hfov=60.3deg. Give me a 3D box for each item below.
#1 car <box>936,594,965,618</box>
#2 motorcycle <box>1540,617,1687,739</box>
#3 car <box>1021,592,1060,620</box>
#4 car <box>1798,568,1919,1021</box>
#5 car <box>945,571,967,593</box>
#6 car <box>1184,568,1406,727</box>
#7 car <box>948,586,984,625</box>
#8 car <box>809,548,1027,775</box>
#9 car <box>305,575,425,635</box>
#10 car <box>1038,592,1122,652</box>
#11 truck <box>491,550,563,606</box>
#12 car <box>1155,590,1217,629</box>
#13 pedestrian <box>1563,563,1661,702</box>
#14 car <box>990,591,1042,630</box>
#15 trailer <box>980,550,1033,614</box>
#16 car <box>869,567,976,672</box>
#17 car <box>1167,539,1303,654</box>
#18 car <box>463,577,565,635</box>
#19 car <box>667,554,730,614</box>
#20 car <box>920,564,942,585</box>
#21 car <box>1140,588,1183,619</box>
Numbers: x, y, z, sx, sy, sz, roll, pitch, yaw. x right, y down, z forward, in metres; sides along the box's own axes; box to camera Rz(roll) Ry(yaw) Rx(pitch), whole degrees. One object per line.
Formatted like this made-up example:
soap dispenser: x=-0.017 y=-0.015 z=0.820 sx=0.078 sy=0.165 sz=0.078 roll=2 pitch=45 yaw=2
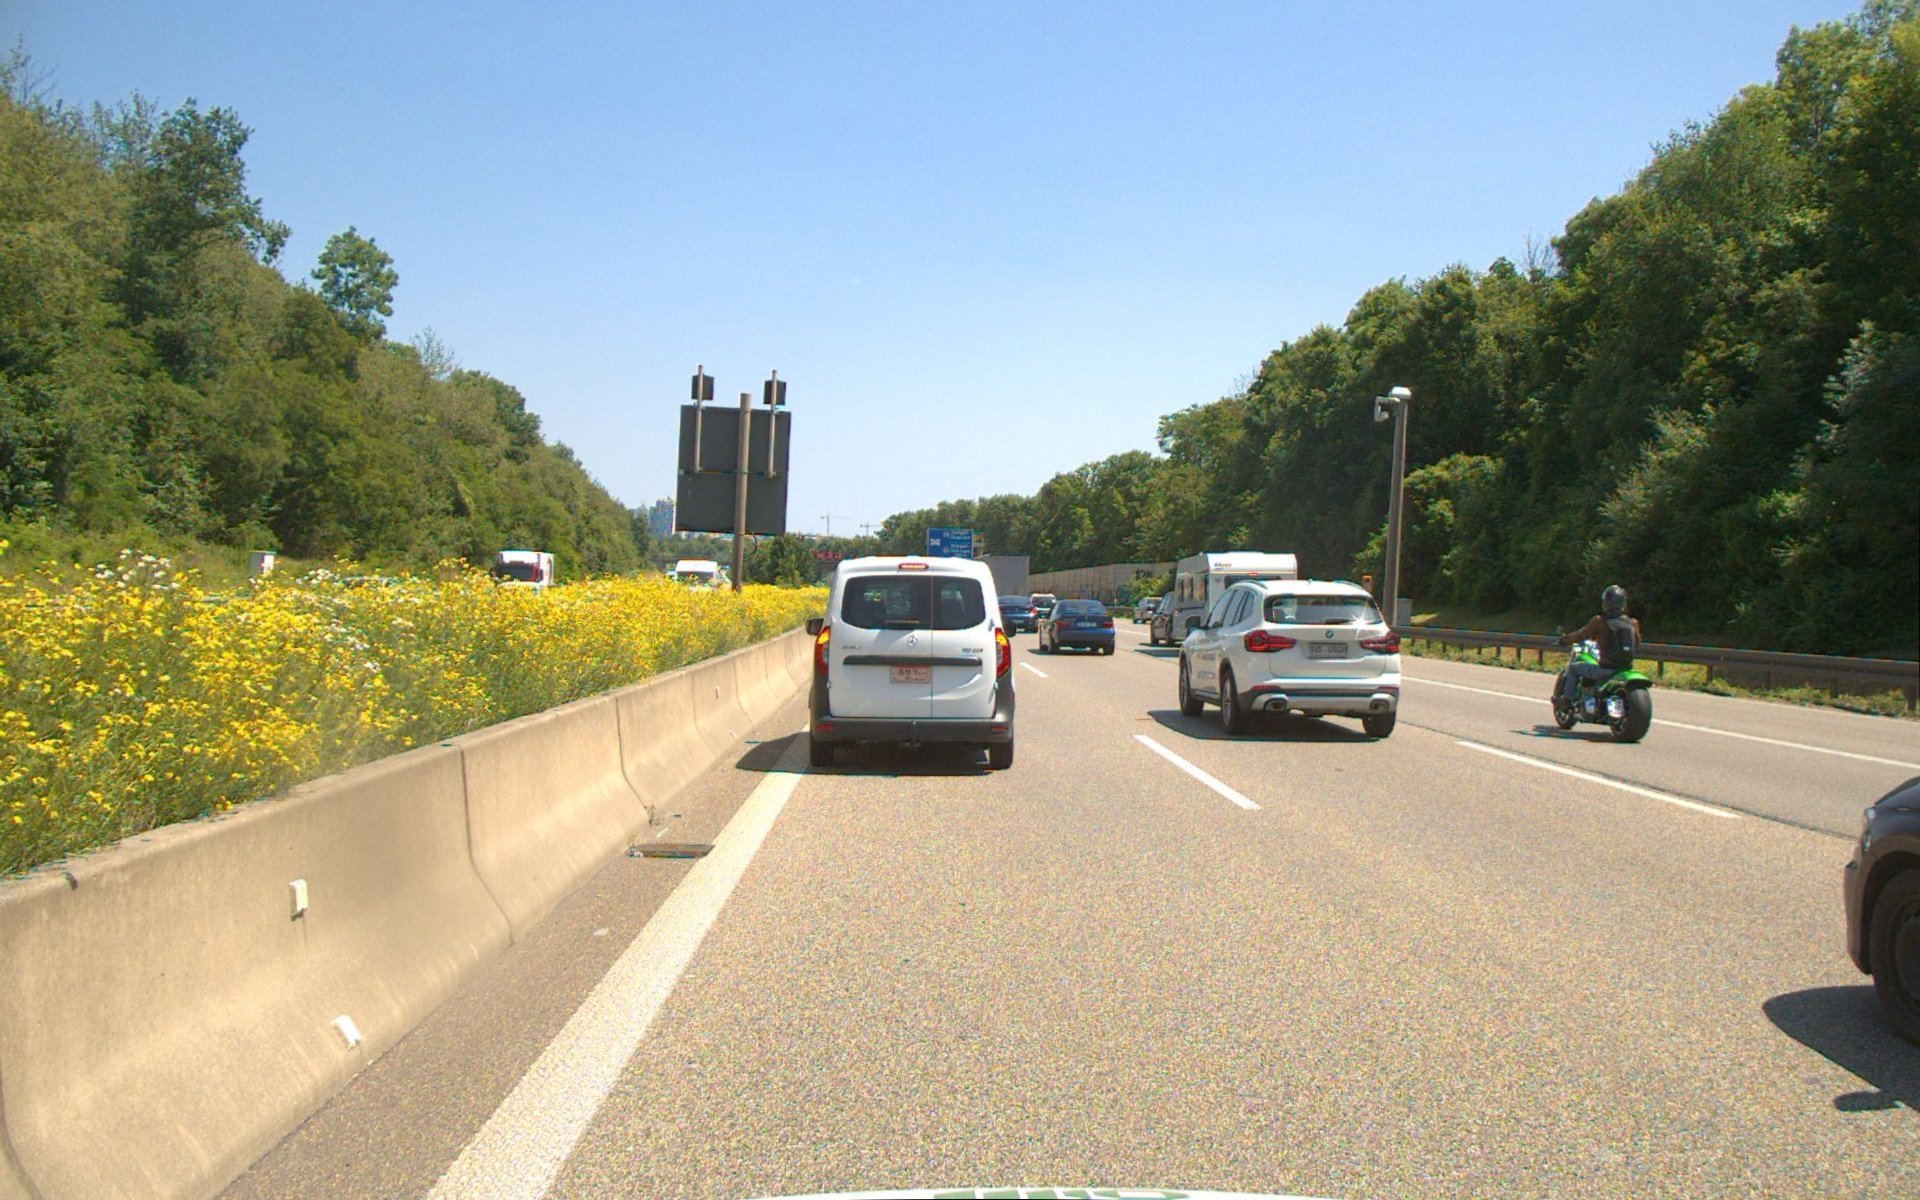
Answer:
car: x=-0.654 y=0.372 z=109.172 sx=1.787 sy=1.472 sz=3.999 roll=1 pitch=0 yaw=-1
motorcycle: x=7.303 y=0.839 z=18.610 sx=0.841 sy=1.202 sz=2.277 roll=1 pitch=1 yaw=3
car: x=4.338 y=0.315 z=89.779 sx=1.787 sy=1.449 sz=3.999 roll=1 pitch=0 yaw=-1
car: x=4.231 y=0.709 z=4.220 sx=1.801 sy=1.539 sz=4.400 roll=1 pitch=1 yaw=-2
car: x=-0.375 y=-1.662 z=153.190 sx=1.953 sy=2.049 sz=3.999 roll=1 pitch=0 yaw=-1
car: x=3.781 y=0.490 z=19.310 sx=1.832 sy=1.636 sz=3.879 roll=1 pitch=0 yaw=1
car: x=0.323 y=0.272 z=88.013 sx=1.787 sy=2.024 sz=3.999 roll=1 pitch=0 yaw=-1
car: x=-0.406 y=0.493 z=15.586 sx=1.766 sy=1.839 sz=3.999 roll=1 pitch=0 yaw=-2
car: x=-16.635 y=0.119 z=46.459 sx=1.953 sy=1.602 sz=3.999 roll=1 pitch=0 yaw=-1
car: x=3.045 y=0.531 z=42.723 sx=1.787 sy=1.449 sz=3.999 roll=1 pitch=0 yaw=-1
truck: x=-24.659 y=-1.236 z=94.477 sx=2.358 sy=3.058 sz=7.456 roll=1 pitch=0 yaw=-2
car: x=8.757 y=0.348 z=64.357 sx=1.787 sy=1.449 sz=3.999 roll=1 pitch=0 yaw=-1
pedestrian: x=7.304 y=0.351 z=18.555 sx=0.834 sy=1.504 sz=0.638 roll=1 pitch=1 yaw=3
car: x=2.147 y=0.385 z=64.126 sx=1.787 sy=1.449 sz=3.999 roll=1 pitch=0 yaw=-1
trailer: x=3.056 y=-1.211 z=111.282 sx=3.019 sy=4.055 sz=10.320 roll=1 pitch=0 yaw=-1
car: x=-0.734 y=0.350 z=32.534 sx=1.953 sy=1.892 sz=3.999 roll=1 pitch=0 yaw=-1
car: x=7.224 y=-0.112 z=44.185 sx=2.428 sy=2.814 sz=6.218 roll=1 pitch=0 yaw=-1
car: x=-12.997 y=0.156 z=48.440 sx=1.953 sy=1.602 sz=3.999 roll=1 pitch=0 yaw=-1
car: x=-11.663 y=-0.708 z=74.189 sx=1.953 sy=2.586 sz=5.907 roll=1 pitch=0 yaw=-1
car: x=-3.006 y=-2.593 z=167.979 sx=1.955 sy=2.049 sz=3.996 roll=1 pitch=0 yaw=-5
car: x=10.671 y=0.174 z=87.824 sx=1.752 sy=1.545 sz=3.999 roll=1 pitch=0 yaw=-1
